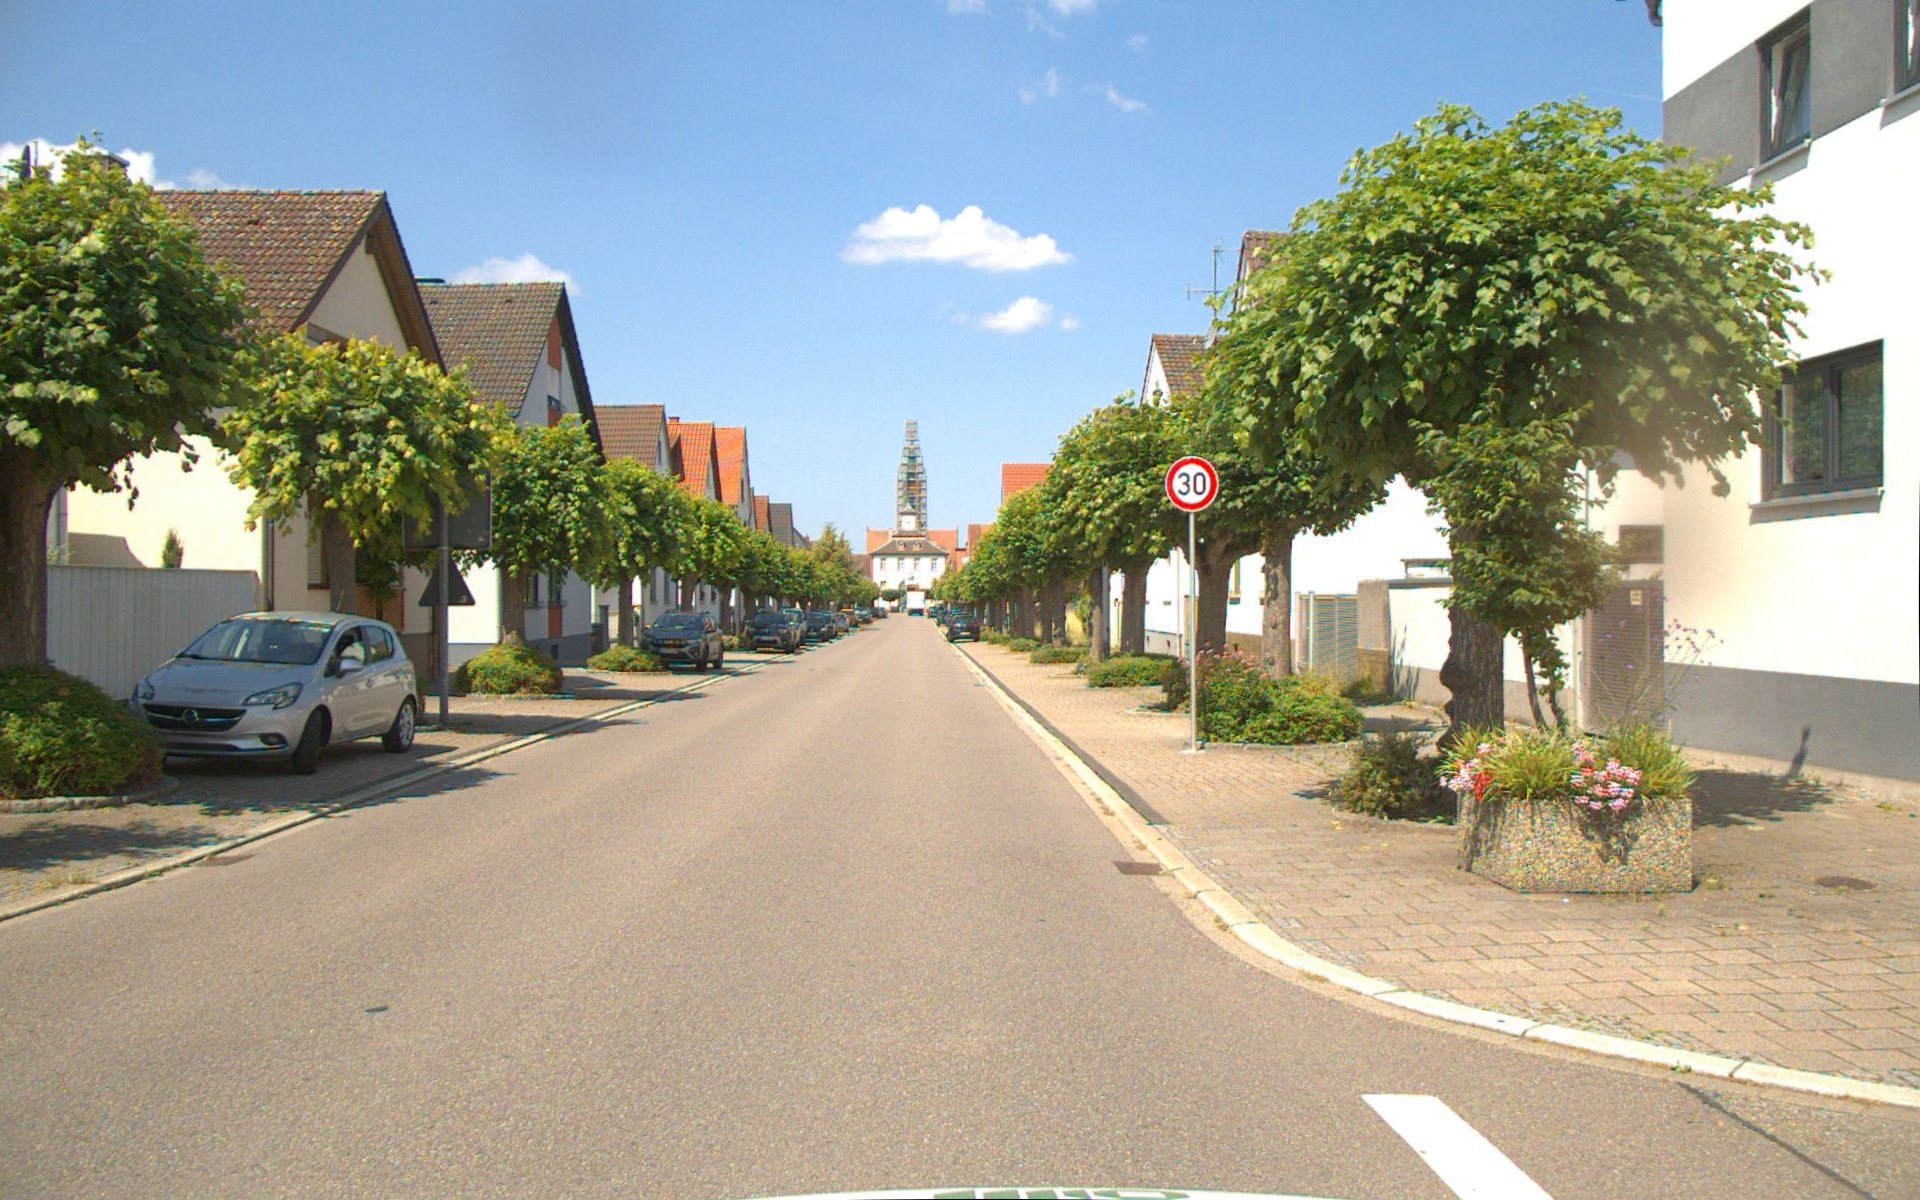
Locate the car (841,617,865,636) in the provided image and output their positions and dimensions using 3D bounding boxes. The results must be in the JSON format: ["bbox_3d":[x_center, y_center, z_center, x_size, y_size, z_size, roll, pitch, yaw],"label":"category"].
[{"bbox_3d":[-9.842,2.403,152.105,1.953,1.639,4.688,1,0,-1],"label":"car"}]

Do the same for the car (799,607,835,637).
[{"bbox_3d":[-8.456,1.297,97.997,1.815,1.664,4.055,1,-1,-2],"label":"car"}]

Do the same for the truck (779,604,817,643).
[{"bbox_3d":[-7.947,1.147,81.461,1.544,1.796,4.190,2,-1,-2],"label":"truck"}]

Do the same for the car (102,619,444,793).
[{"bbox_3d":[-6.807,0.977,16.905,1.788,1.509,4.131,2,-1,-1],"label":"car"}]

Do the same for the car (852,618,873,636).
[{"bbox_3d":[-10.260,2.819,174.084,1.953,1.639,4.688,2,0,-1],"label":"car"}]

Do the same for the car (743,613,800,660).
[{"bbox_3d":[-7.387,1.409,65.014,1.815,1.665,4.298,2,0,-2],"label":"car"}]

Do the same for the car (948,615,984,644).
[{"bbox_3d":[0.324,1.610,90.828,1.787,1.457,4.055,-3,0,-2],"label":"car"}]

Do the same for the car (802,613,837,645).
[{"bbox_3d":[-7.687,1.563,90.101,1.751,1.662,3.994,1,-1,-7],"label":"car"}]

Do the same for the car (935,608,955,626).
[{"bbox_3d":[-1.447,1.647,160.276,1.800,1.582,4.312,-2,0,-2],"label":"car"}]

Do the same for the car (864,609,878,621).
[{"bbox_3d":[-11.644,1.965,216.966,1.722,1.582,4.019,-1,0,-1],"label":"car"}]

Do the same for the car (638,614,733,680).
[{"bbox_3d":[-7.391,1.237,44.830,1.815,1.641,4.135,2,0,0],"label":"car"}]
